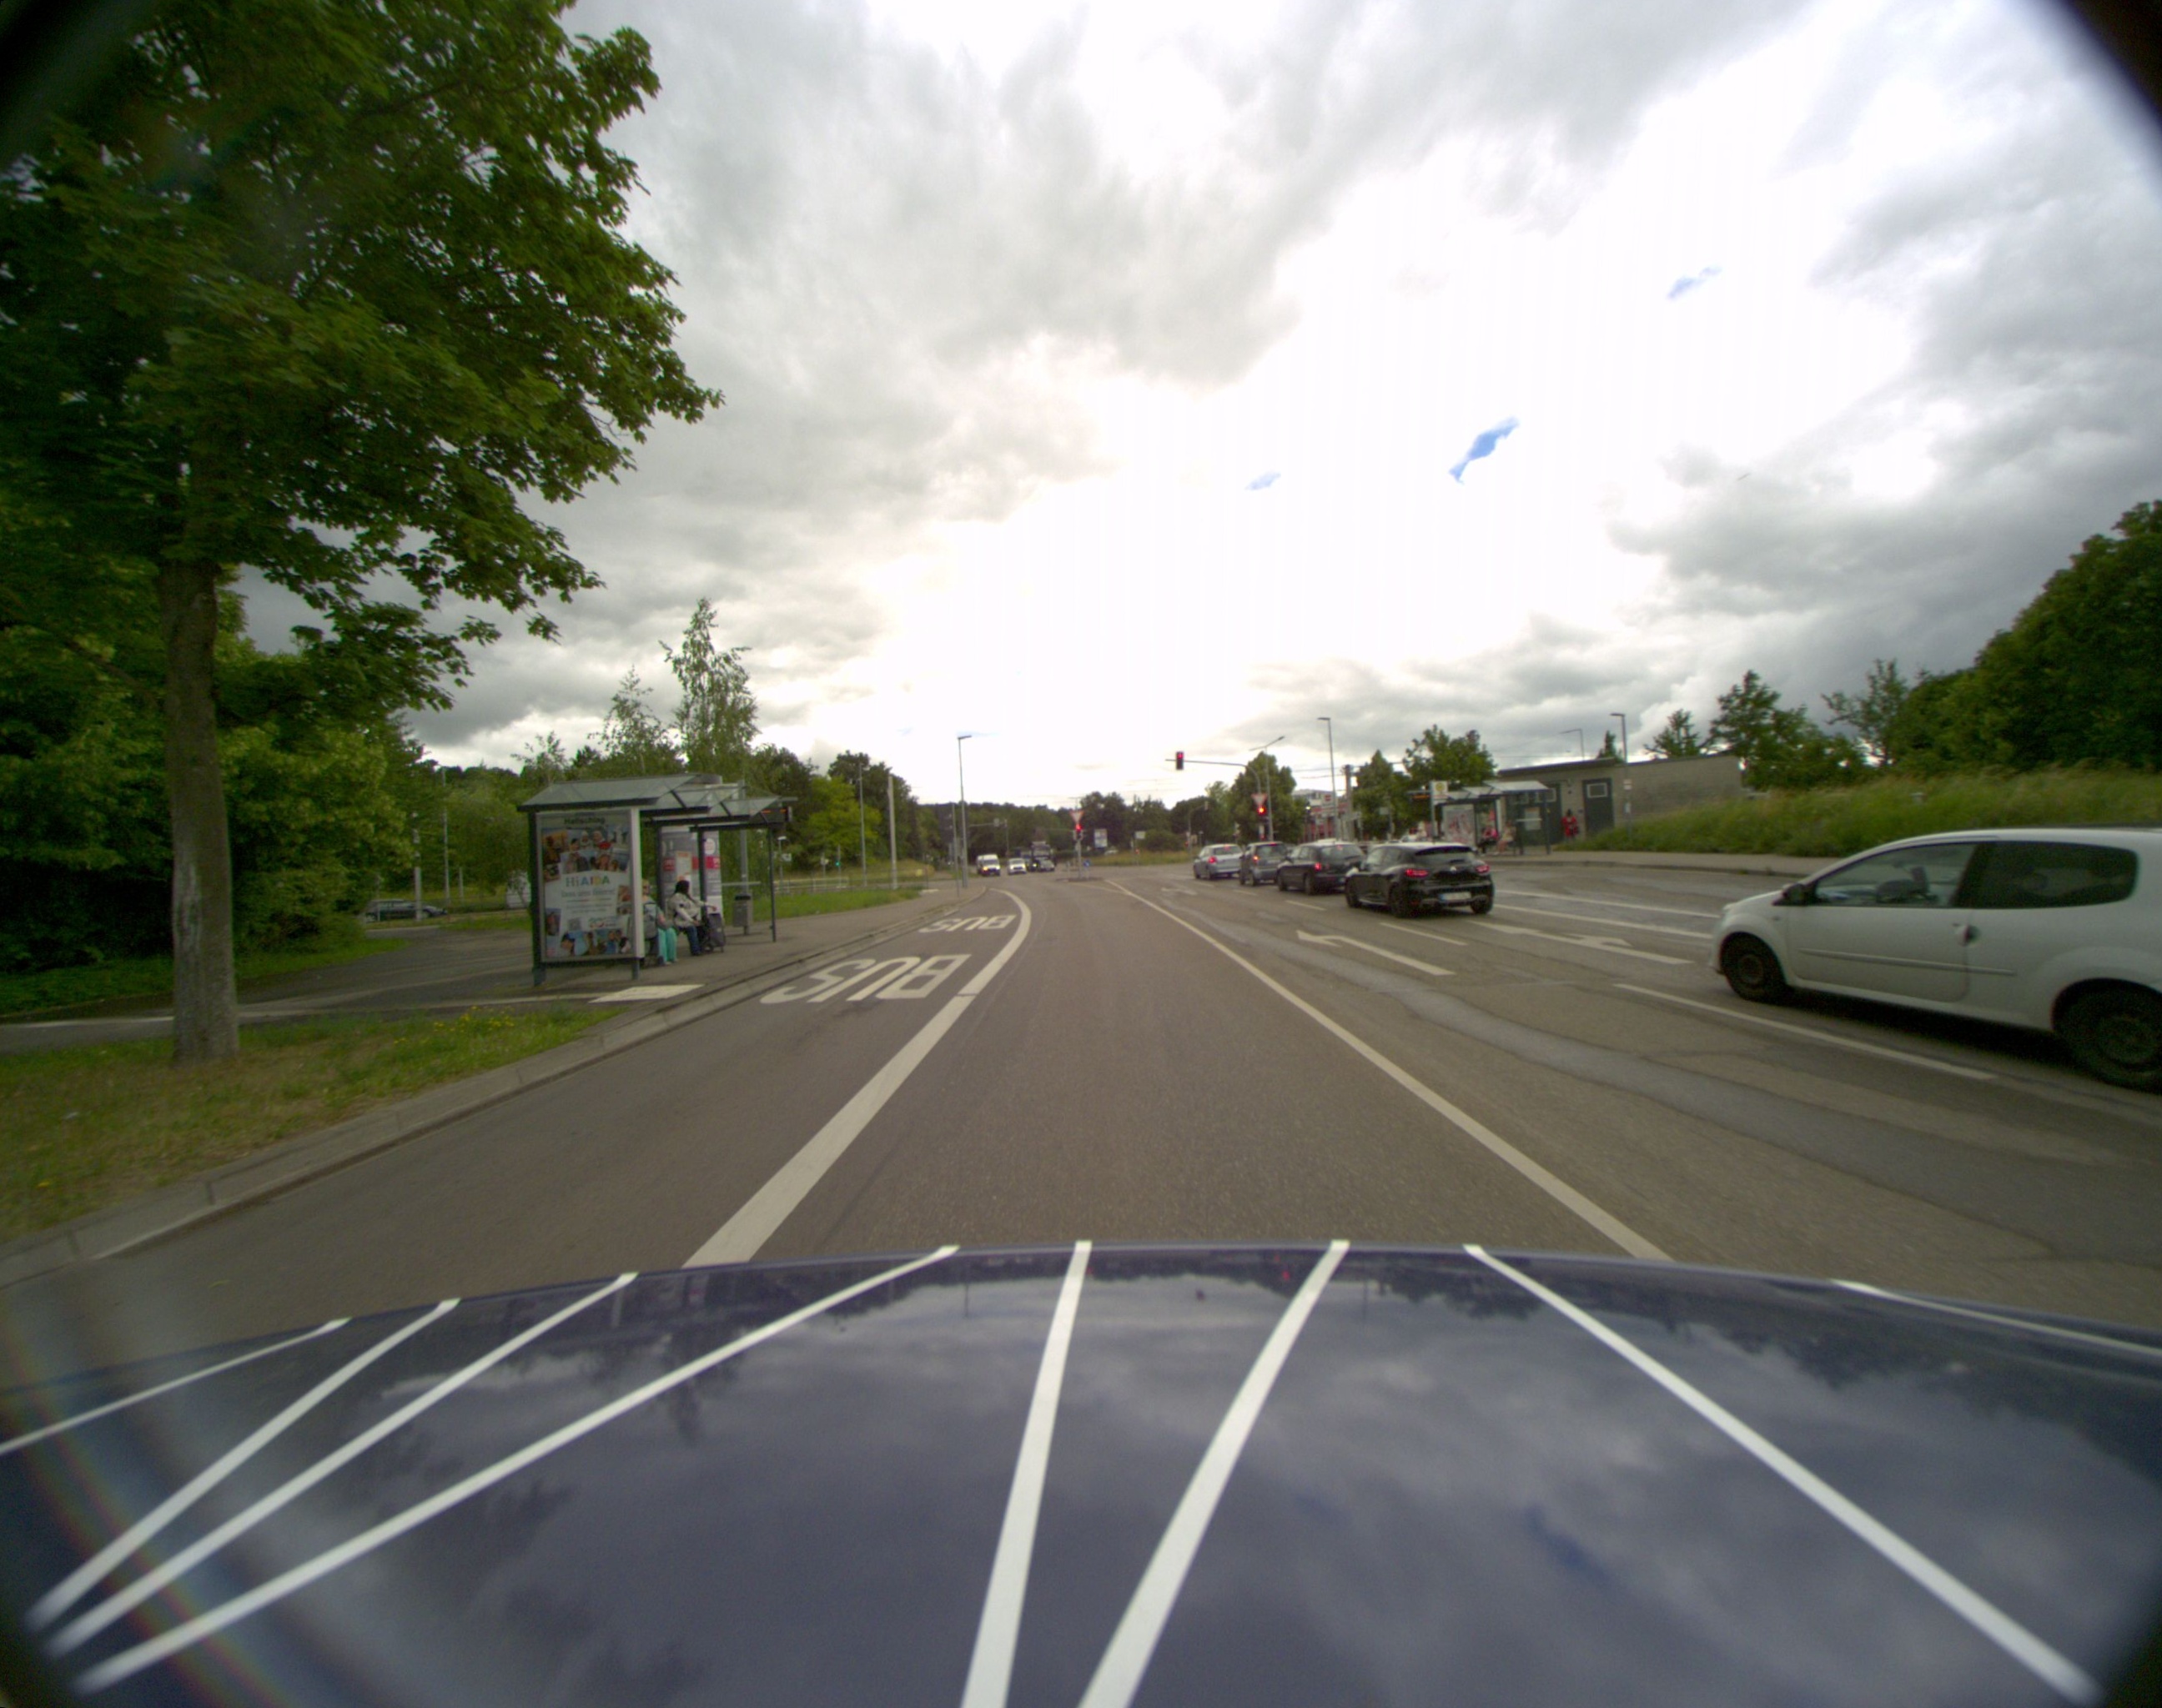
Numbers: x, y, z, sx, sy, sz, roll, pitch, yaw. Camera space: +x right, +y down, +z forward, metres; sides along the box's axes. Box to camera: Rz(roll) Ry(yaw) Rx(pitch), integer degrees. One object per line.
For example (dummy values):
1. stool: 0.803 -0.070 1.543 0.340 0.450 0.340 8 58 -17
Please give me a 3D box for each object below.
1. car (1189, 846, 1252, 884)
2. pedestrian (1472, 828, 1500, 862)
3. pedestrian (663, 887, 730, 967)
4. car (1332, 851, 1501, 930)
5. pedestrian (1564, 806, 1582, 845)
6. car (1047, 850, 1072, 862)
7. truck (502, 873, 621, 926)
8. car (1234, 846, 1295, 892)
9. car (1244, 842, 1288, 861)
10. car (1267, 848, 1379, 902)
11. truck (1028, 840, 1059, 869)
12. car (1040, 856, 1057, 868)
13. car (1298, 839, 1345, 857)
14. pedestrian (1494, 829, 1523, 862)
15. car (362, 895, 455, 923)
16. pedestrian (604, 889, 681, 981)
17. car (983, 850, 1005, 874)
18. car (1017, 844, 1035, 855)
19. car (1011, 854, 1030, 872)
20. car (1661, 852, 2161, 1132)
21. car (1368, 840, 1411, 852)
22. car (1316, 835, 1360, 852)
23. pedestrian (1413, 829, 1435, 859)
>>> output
1. car: 6.224 0.478 34.386 1.832 1.527 4.219 -3 0 -3
2. pedestrian: 16.614 -0.363 31.166 0.774 1.322 0.550 -4 0 -7
3. pedestrian: -6.542 1.215 12.919 0.777 1.245 0.771 -4 0 -41
4. car: 6.642 0.658 15.553 1.643 1.324 4.061 -3 0 1
5. pedestrian: 21.609 -1.265 33.365 0.549 1.660 0.430 -3 0 37
6. car: -3.649 0.374 129.775 1.995 1.865 4.899 -4 0 27
7. truck: -35.630 3.089 52.402 6.280 2.994 2.107 -4 3 -24
8. car: 6.707 0.527 27.974 1.432 1.518 2.774 -3 0 -1
9. car: 20.037 -0.285 82.493 4.222 1.769 1.813 -3 0 -8
10. car: 6.924 0.566 22.259 1.804 1.324 4.380 -3 0 0
11. truck: -5.046 0.066 100.781 3.075 3.497 5.956 -5 0 -10
12. car: -3.991 0.981 93.067 1.636 1.433 3.864 -4 0 -9
13. car: 27.122 -0.658 85.795 4.698 1.781 1.813 -2 0 -13
14. pedestrian: 16.800 -0.330 29.859 0.774 1.219 0.550 -4 0 -7
15. car: -43.682 3.569 49.476 4.003 1.390 1.997 -4 0 -22
16. pedestrian: -6.687 1.223 11.611 0.730 1.308 0.589 -4 0 3
17. car: -10.695 1.021 93.040 2.228 2.643 5.956 -5 0 -10
18. car: -10.949 -0.852 151.462 2.309 2.001 4.812 -4 0 -20
19. car: -7.458 1.153 93.531 2.120 1.979 4.986 -5 0 -5
20. car: 6.456 0.722 5.488 1.643 1.382 3.762 -3 0 1
21. car: 35.347 -0.915 87.002 4.223 1.332 1.813 0 -1 -10
22. car: 30.154 -1.177 89.114 4.456 1.894 2.183 0 -1 -14
23. pedestrian: 15.773 -0.460 34.959 0.550 1.355 0.774 -4 0 -7
